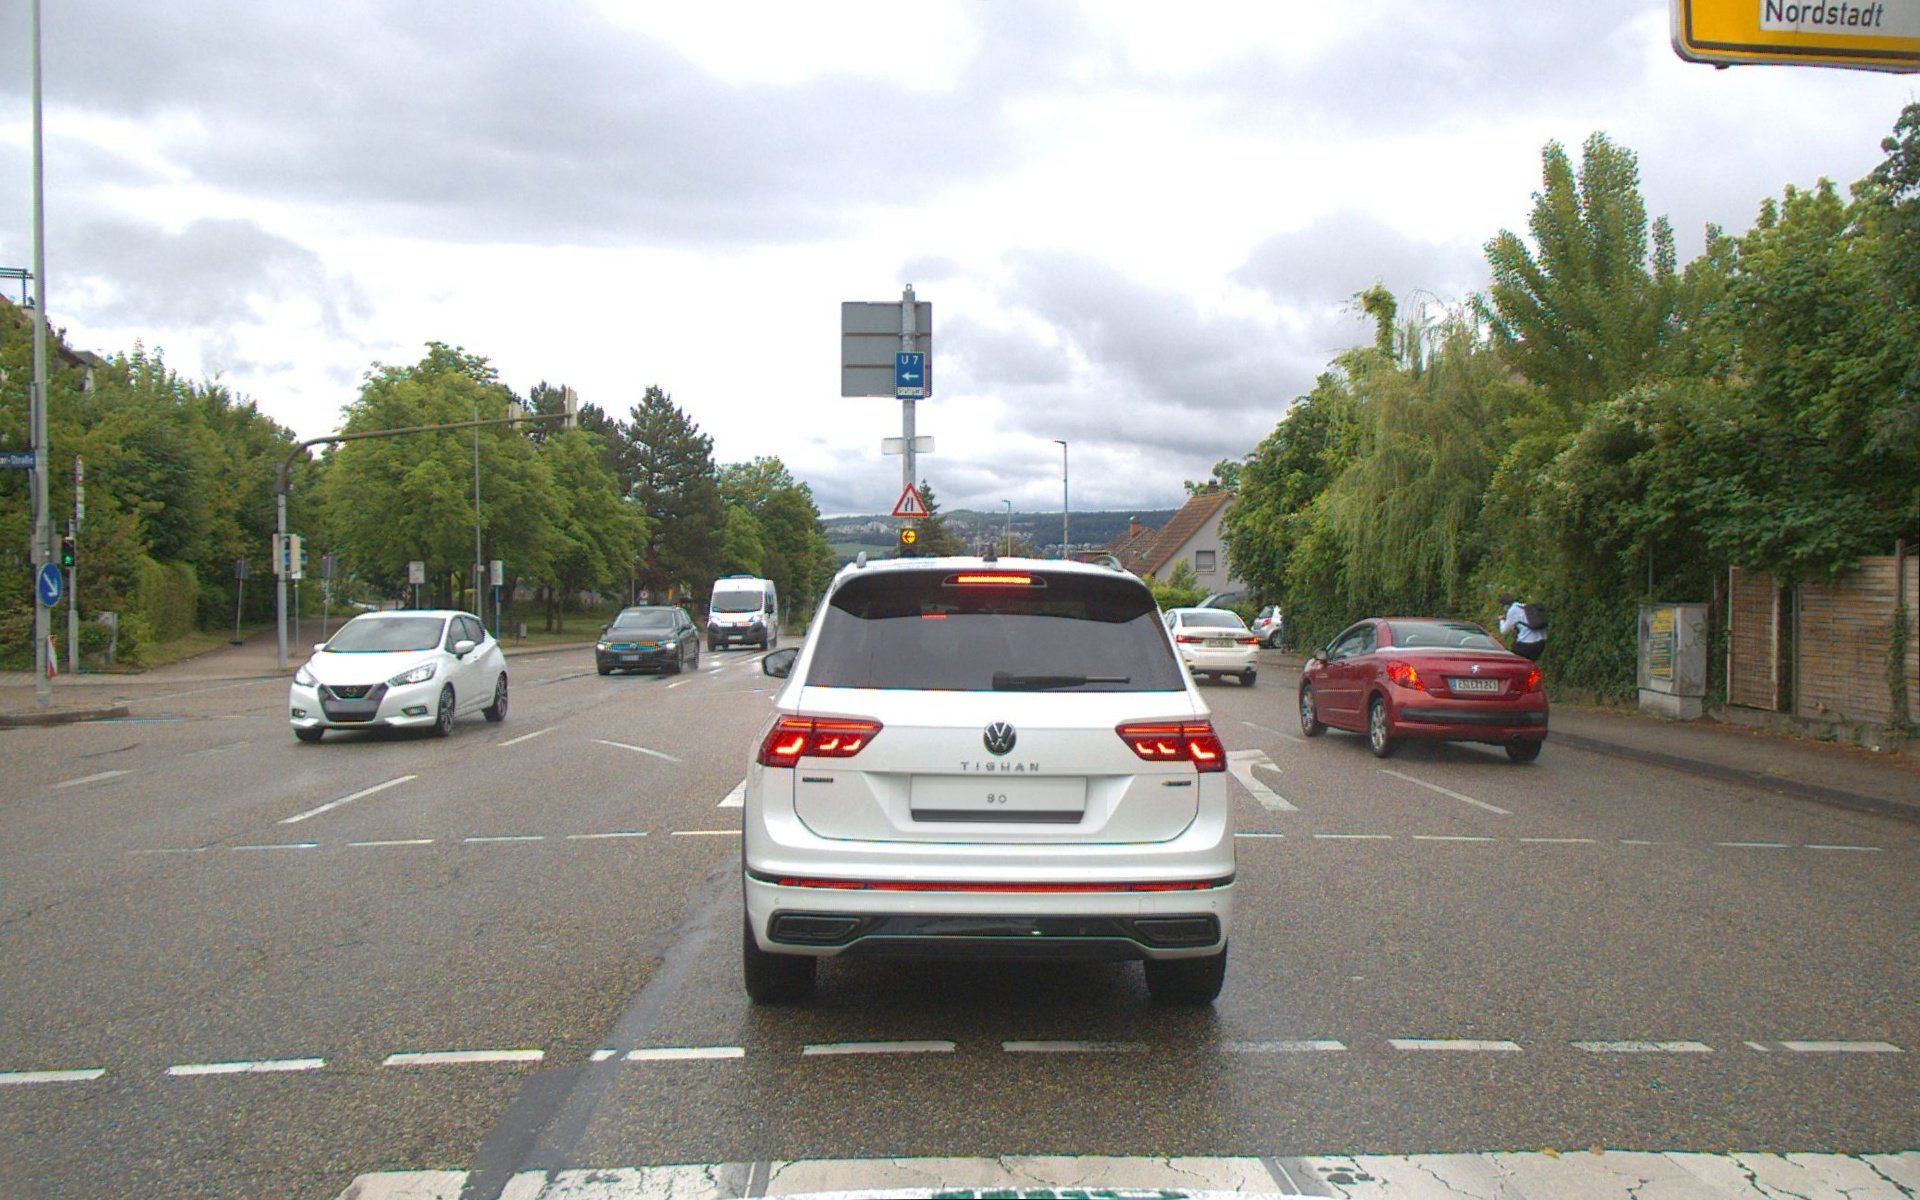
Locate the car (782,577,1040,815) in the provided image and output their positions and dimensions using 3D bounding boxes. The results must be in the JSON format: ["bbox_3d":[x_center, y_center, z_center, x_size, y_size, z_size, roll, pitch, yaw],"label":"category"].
[{"bbox_3d":[-0.348,0.660,13.380,1.762,1.617,3.926,1,0,0],"label":"car"}]

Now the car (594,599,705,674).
[{"bbox_3d":[-6.890,0.767,37.110,1.740,1.528,4.470,-2,0,-2],"label":"car"}]

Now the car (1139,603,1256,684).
[{"bbox_3d":[4.698,0.827,33.226,1.631,1.452,4.304,2,0,-1],"label":"car"}]

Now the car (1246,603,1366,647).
[{"bbox_3d":[11.820,0.857,56.648,3.644,1.420,1.725,0,-1,-8],"label":"car"}]

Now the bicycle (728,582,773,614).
[{"bbox_3d":[-7.835,-0.090,61.931,1.603,1.145,0.468,-2,1,-3],"label":"bicycle"}]

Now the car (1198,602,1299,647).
[{"bbox_3d":[11.235,0.934,64.521,3.556,1.654,1.790,0,2,-5],"label":"car"}]

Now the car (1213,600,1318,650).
[{"bbox_3d":[11.451,0.920,62.033,3.556,1.777,1.707,0,2,-5],"label":"car"}]

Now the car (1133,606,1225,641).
[{"bbox_3d":[9.185,0.994,69.372,3.613,1.394,1.518,1,-2,-3],"label":"car"}]

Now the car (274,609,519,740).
[{"bbox_3d":[-6.743,0.833,20.210,1.710,1.421,3.801,0,0,0],"label":"car"}]

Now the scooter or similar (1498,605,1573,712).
[{"bbox_3d":[7.738,0.766,22.287,0.452,1.385,1.383,0,0,-4],"label":"scooter or similar"}]

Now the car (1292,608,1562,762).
[{"bbox_3d":[4.895,0.835,17.854,1.593,1.427,3.686,1,0,-5],"label":"car"}]

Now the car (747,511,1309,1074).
[{"bbox_3d":[0.161,0.609,7.367,1.727,1.725,4.271,2,0,-2],"label":"car"}]

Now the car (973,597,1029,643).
[{"bbox_3d":[1.474,0.701,60.236,1.701,1.602,4.066,1,0,-3],"label":"car"}]

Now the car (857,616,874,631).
[{"bbox_3d":[-12.101,2.973,211.741,1.953,1.758,3.999,2,0,-1],"label":"car"}]

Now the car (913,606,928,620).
[{"bbox_3d":[-4.769,1.543,200.425,1.813,1.602,3.999,-1,0,-1],"label":"car"}]

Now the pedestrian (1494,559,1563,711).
[{"bbox_3d":[7.715,0.469,22.465,0.642,2.037,0.717,0,0,-5],"label":"pedestrian"}]

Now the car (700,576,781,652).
[{"bbox_3d":[-7.739,0.459,58.810,2.251,2.572,5.772,0,0,-2],"label":"car"}]
